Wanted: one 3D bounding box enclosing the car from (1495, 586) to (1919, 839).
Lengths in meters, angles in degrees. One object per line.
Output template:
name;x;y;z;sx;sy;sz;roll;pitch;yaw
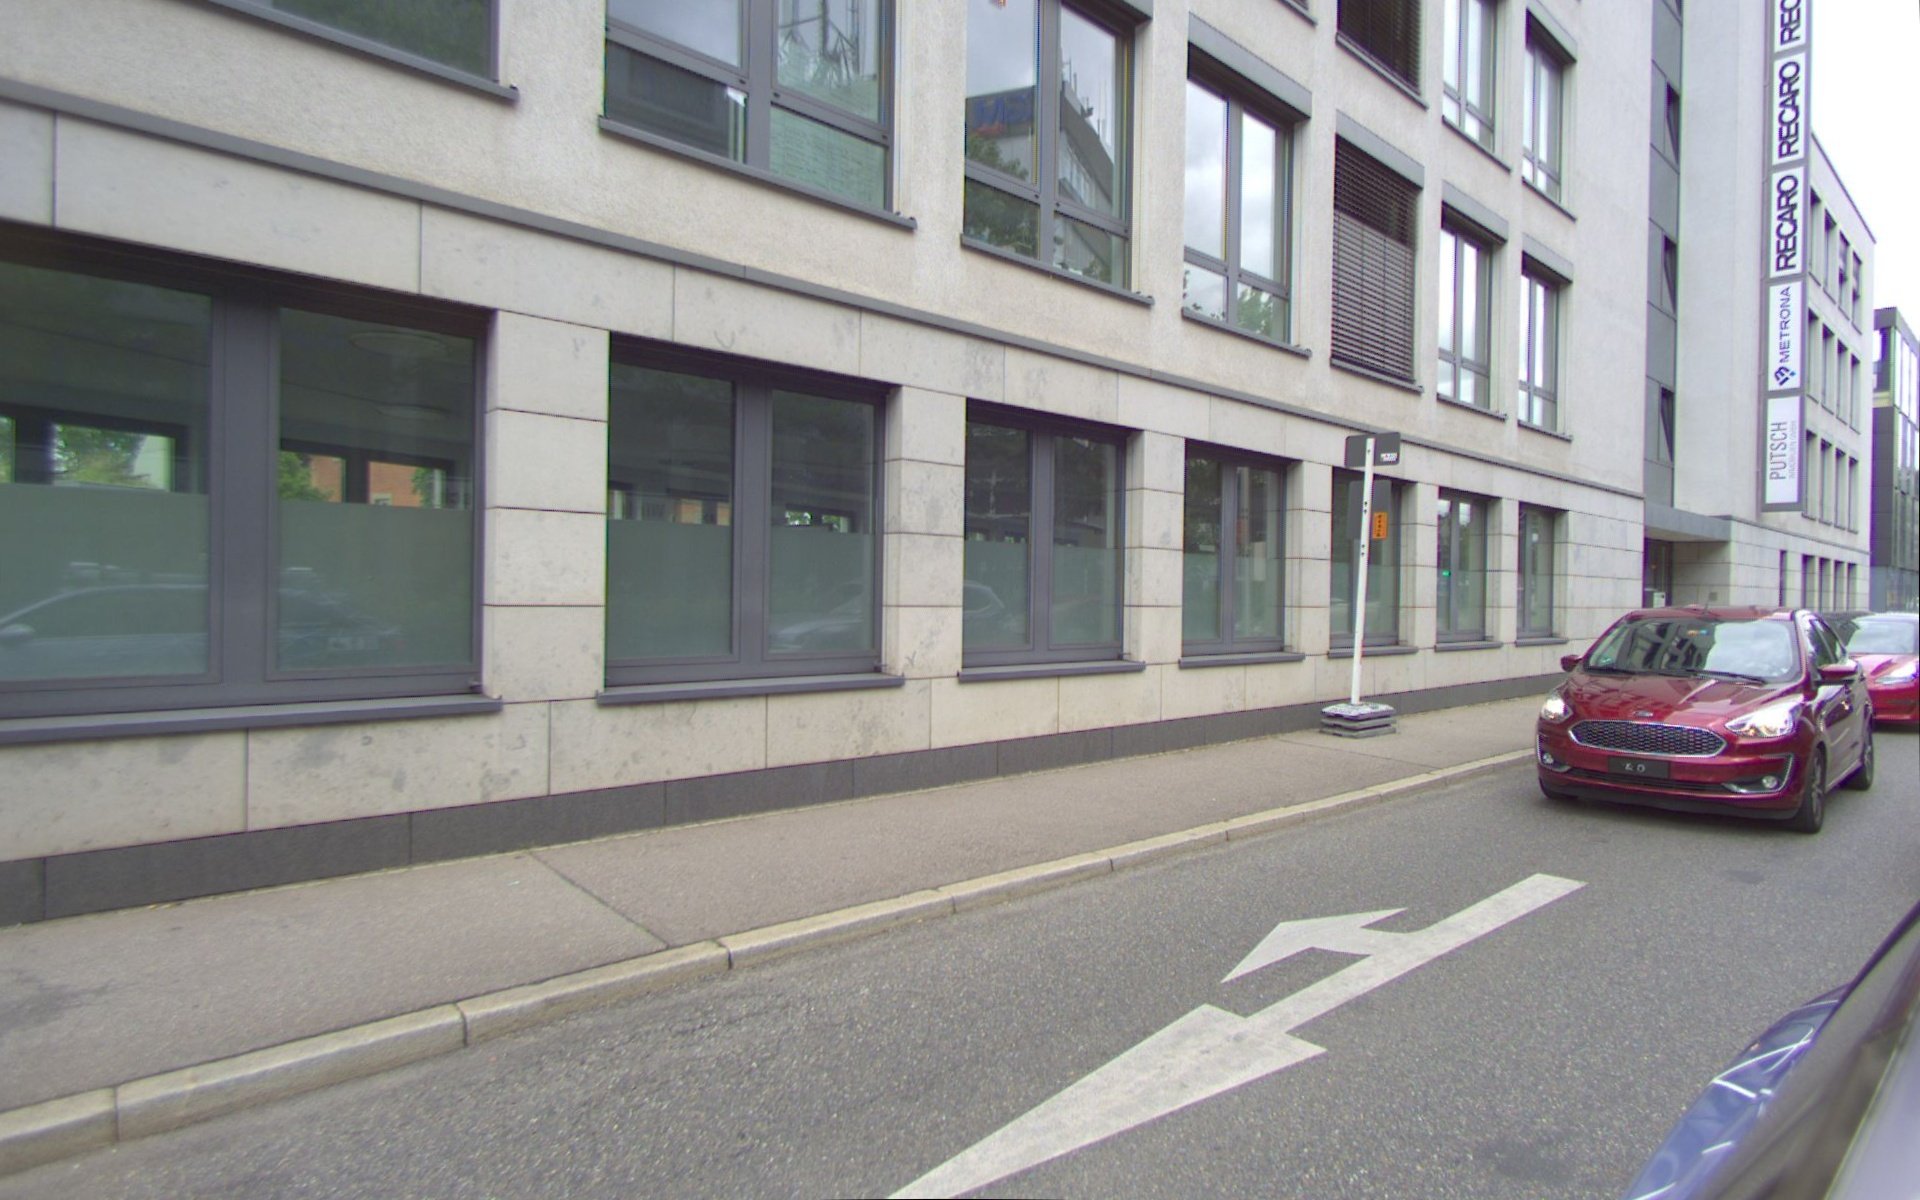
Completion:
car;6.079;0.701;8.082;3.930;1.511;1.888;0;-2;-41

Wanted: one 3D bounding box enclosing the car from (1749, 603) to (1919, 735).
car;11.988;0.781;13.231;4.331;1.476;1.823;0;-1;-41
